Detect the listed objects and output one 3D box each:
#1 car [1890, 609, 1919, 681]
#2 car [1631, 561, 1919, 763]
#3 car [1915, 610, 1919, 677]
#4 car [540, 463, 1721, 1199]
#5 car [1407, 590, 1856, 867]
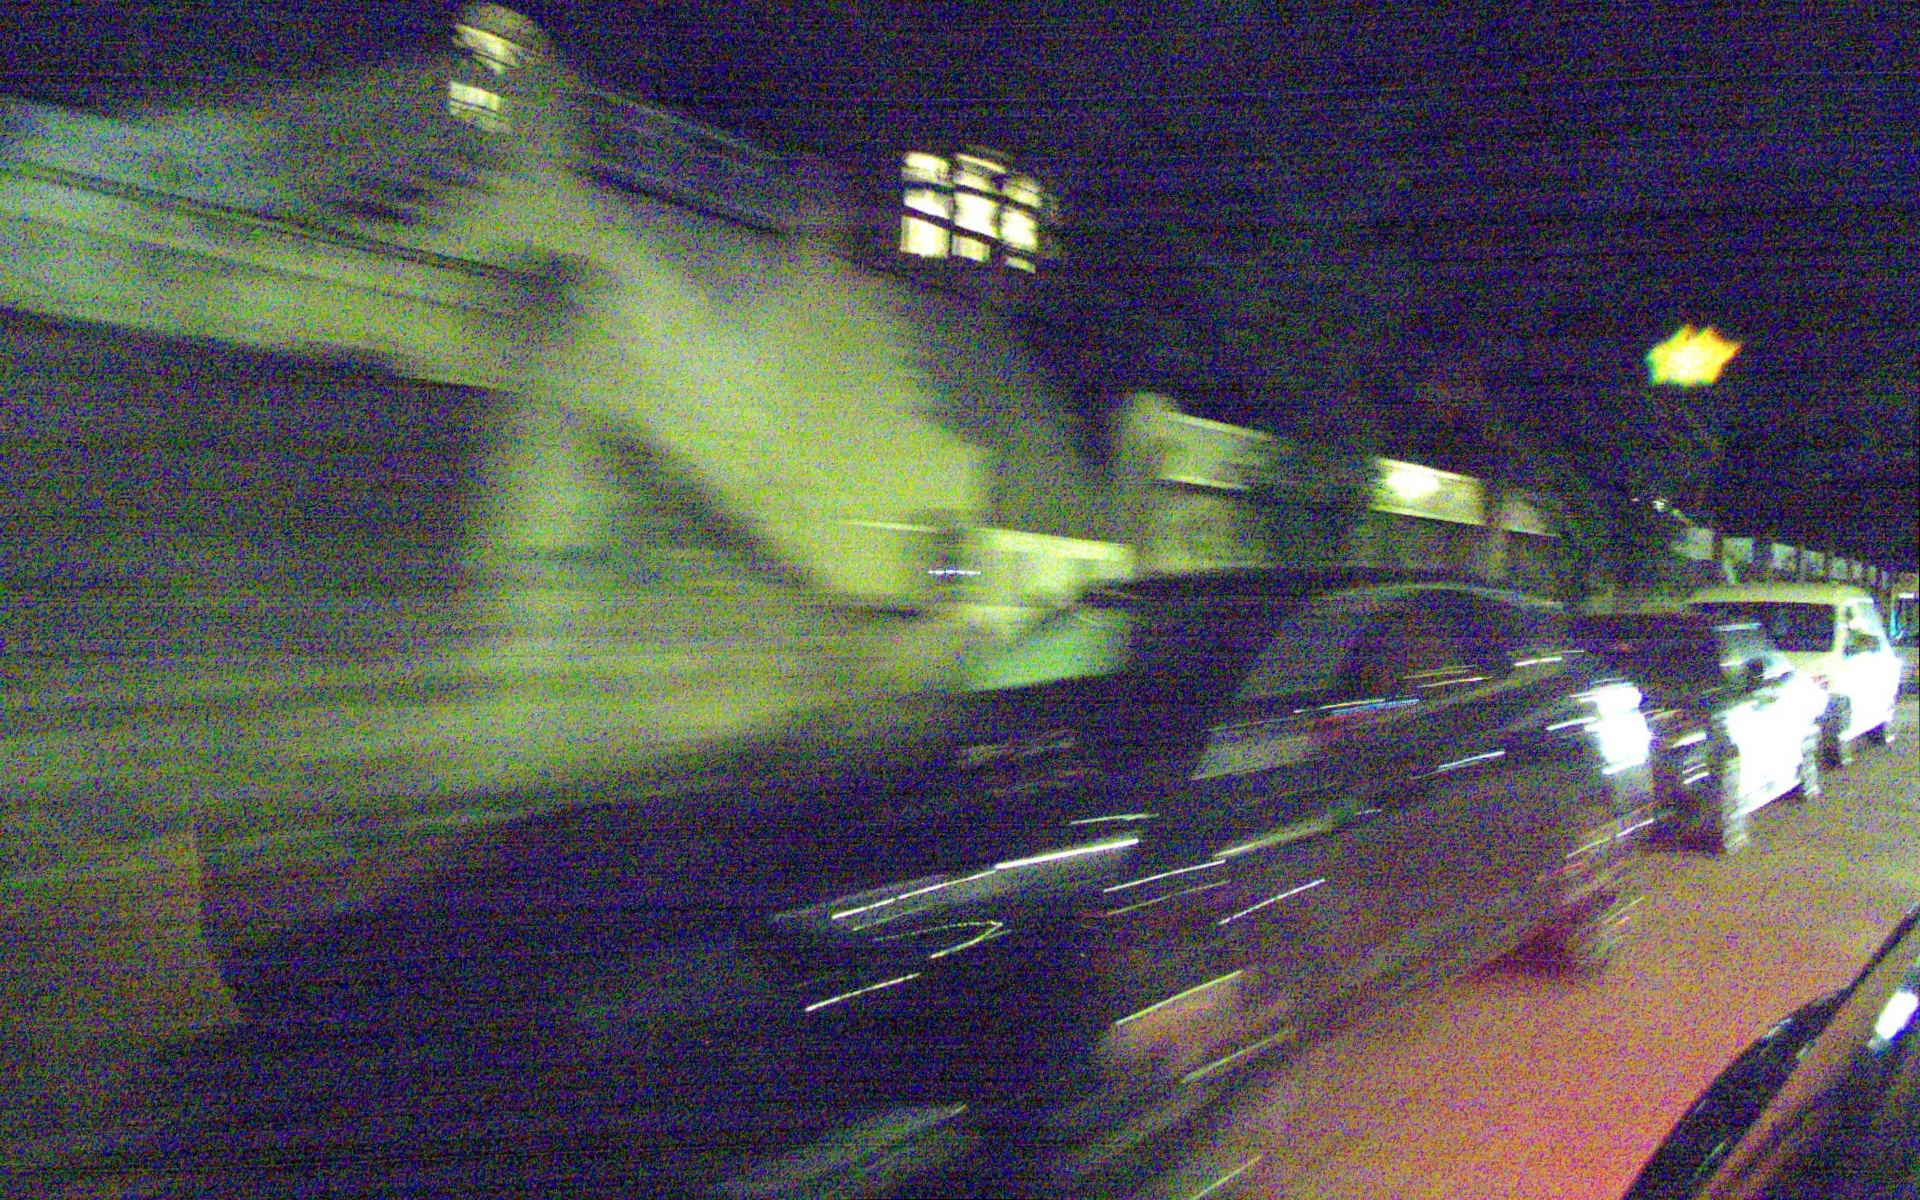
[{"bbox_3d":[21.904,1.069,22.318,3.651,1.479,1.612,3,1,-41],"label":"car"},{"bbox_3d":[9.148,0.585,11.136,4.673,1.784,1.722,1,-1,-40],"label":"car"},{"bbox_3d":[25.310,1.092,25.151,4.643,1.614,1.758,2,-1,-40],"label":"car"},{"bbox_3d":[1.051,0.601,3.792,4.535,1.685,1.836,0,1,-39],"label":"car"},{"bbox_3d":[5.141,0.720,7.513,4.182,1.490,1.746,1,-1,-41],"label":"car"}]
